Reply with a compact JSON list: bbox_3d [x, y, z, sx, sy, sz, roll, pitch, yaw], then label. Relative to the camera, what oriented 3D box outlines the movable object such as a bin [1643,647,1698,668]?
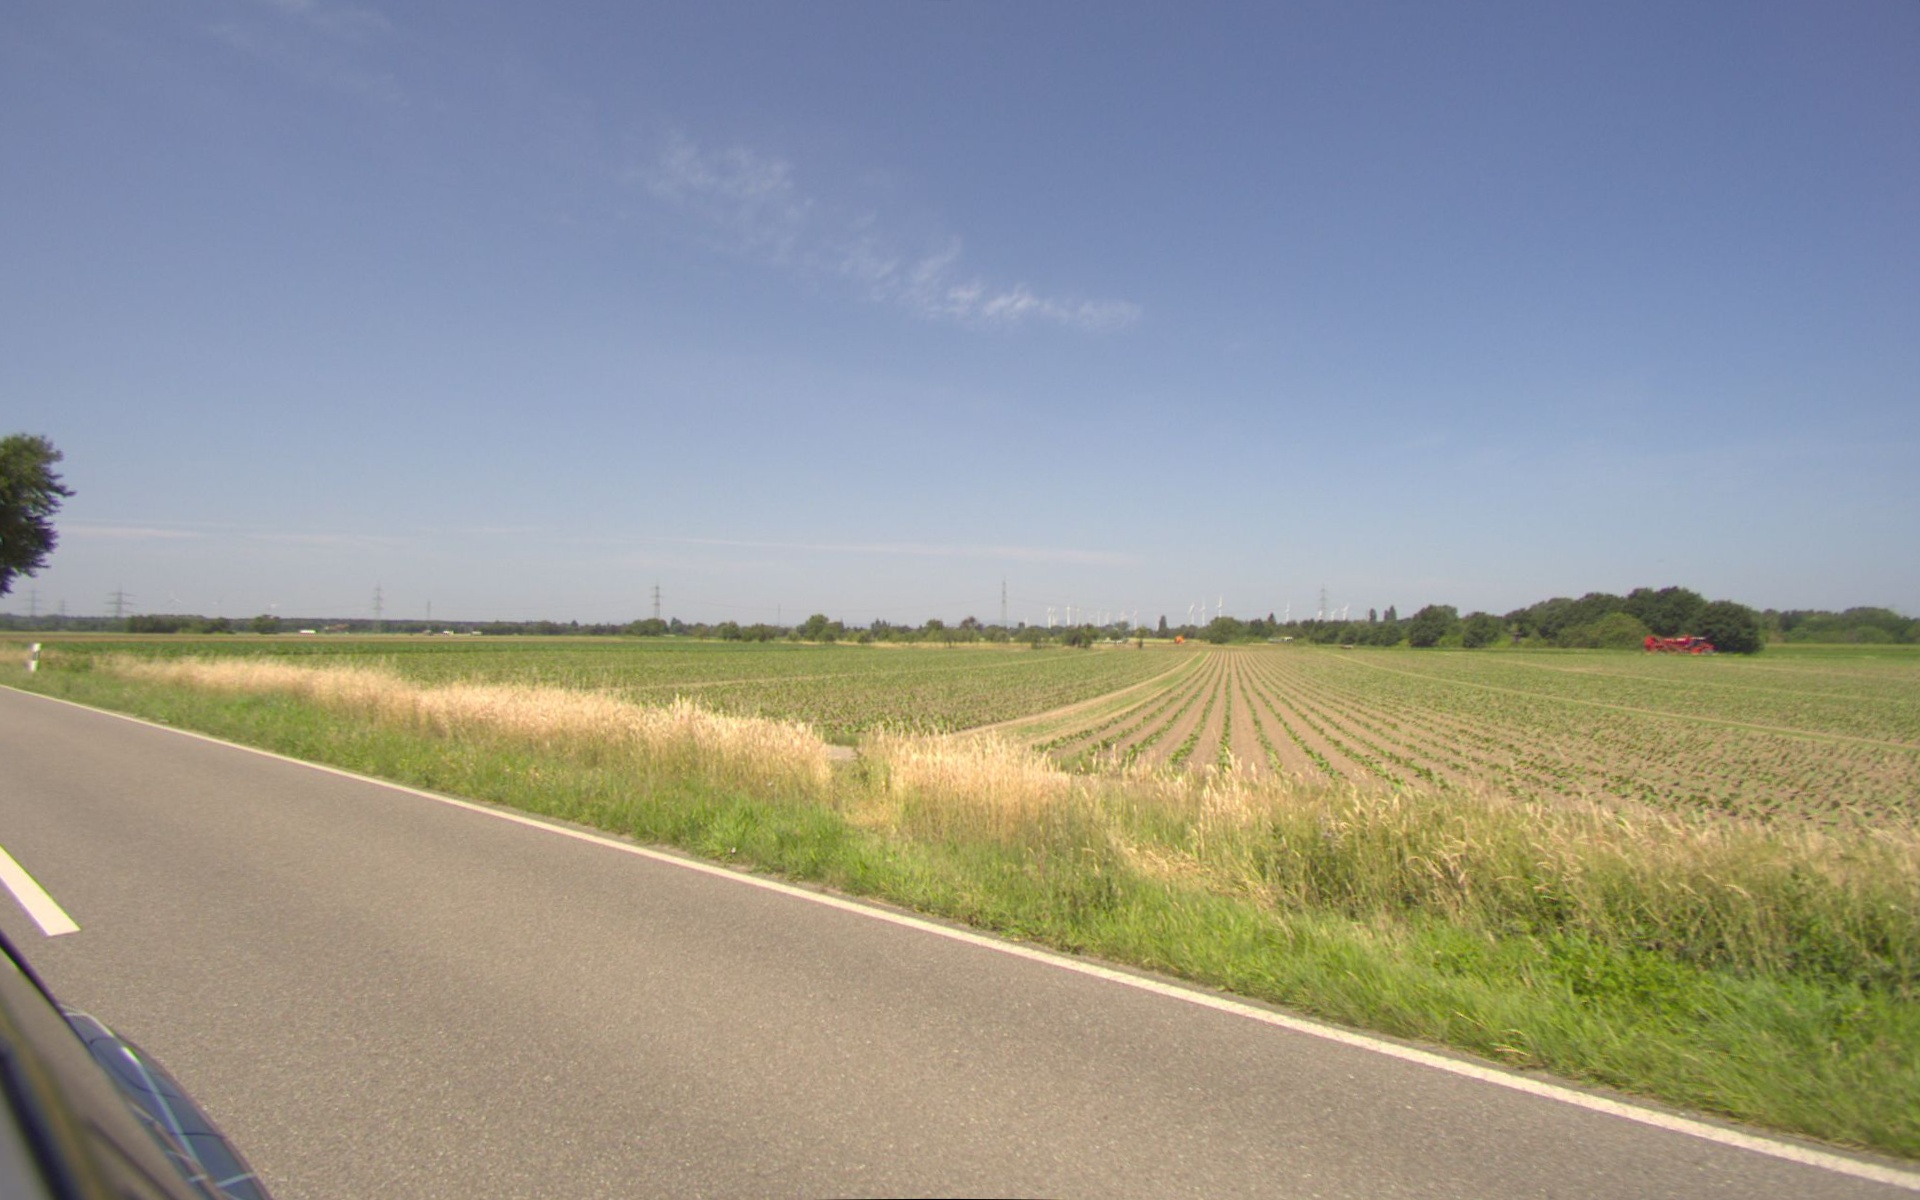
[{"bbox_3d":[142.237,11.488,202.844,2.506,3.879,10.000,2,-3,-10],"label":"movable object such as a bin"}]
